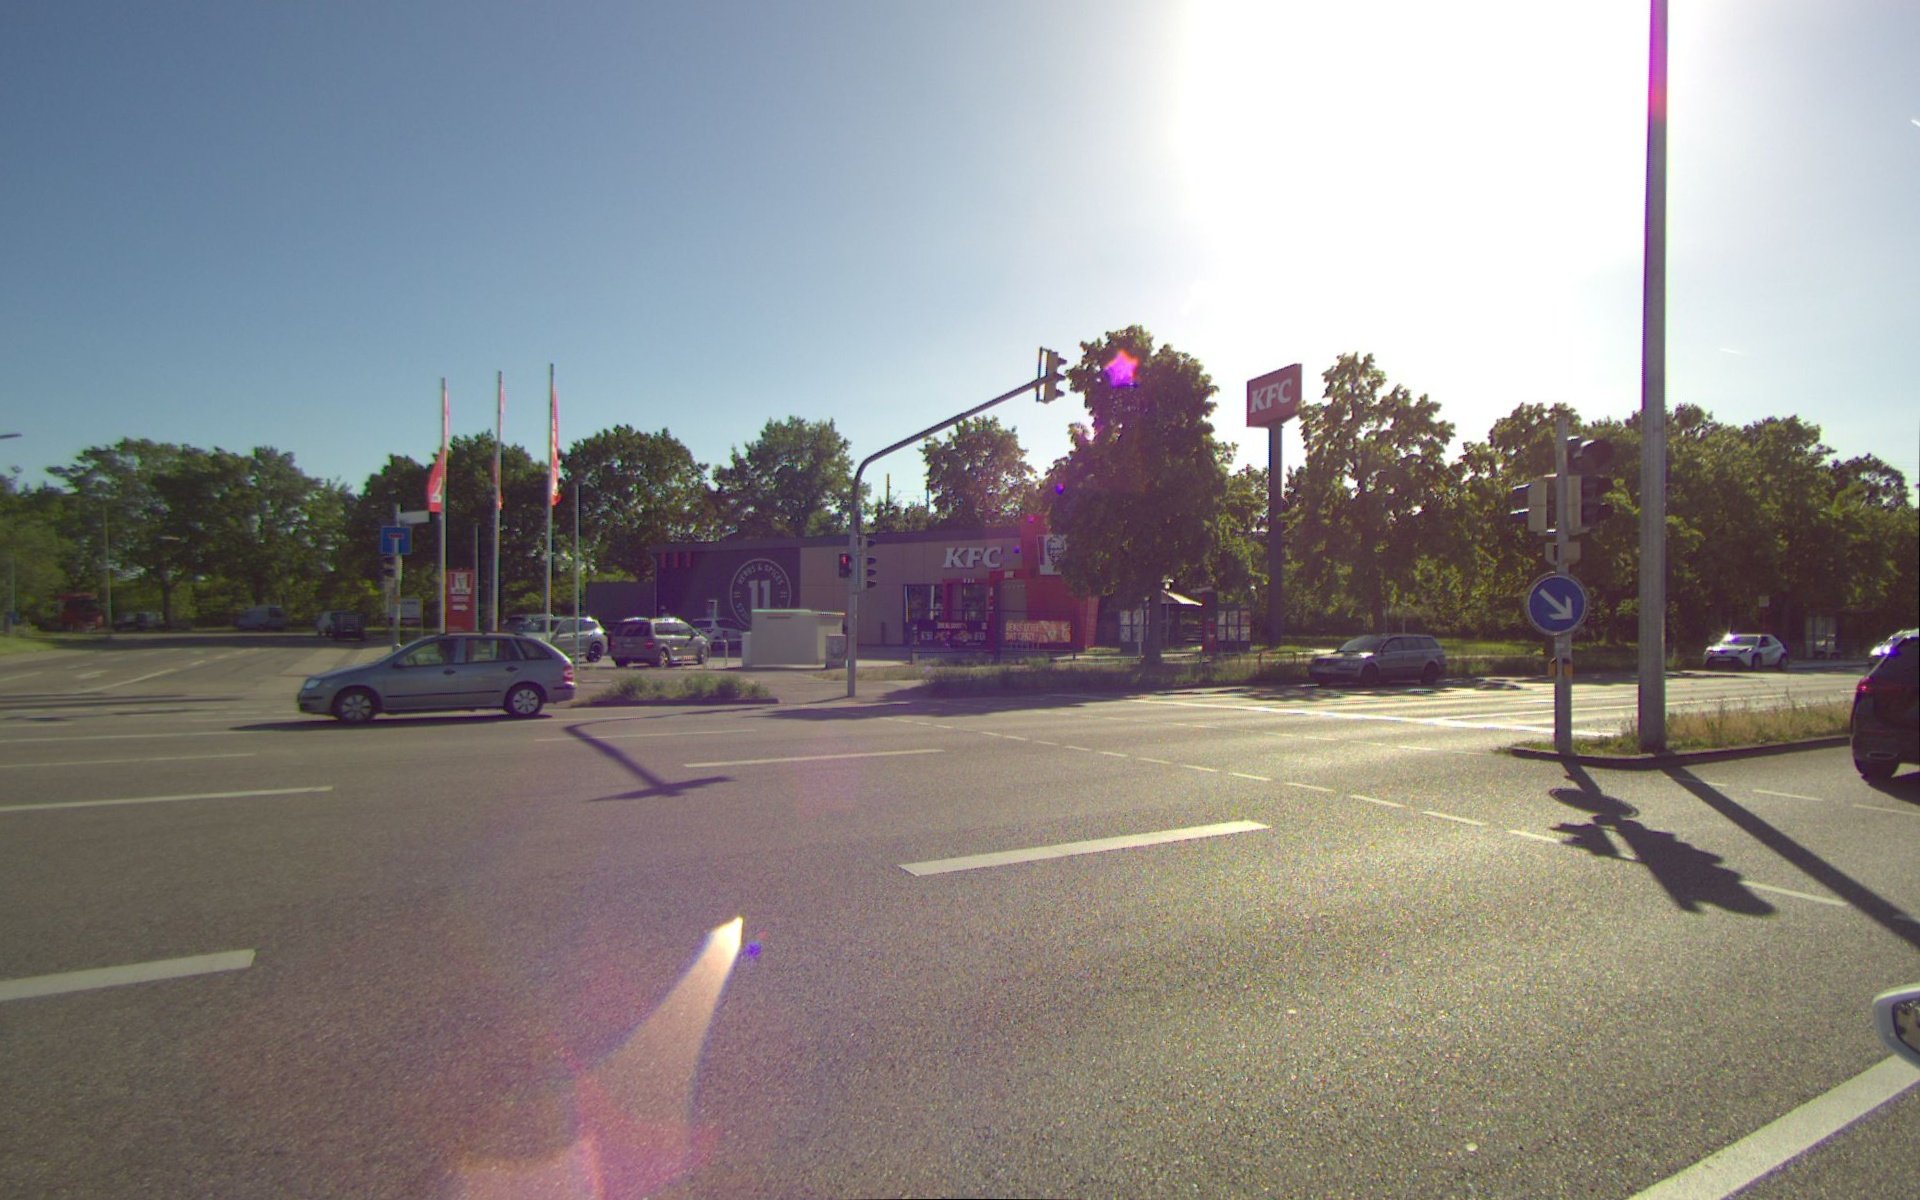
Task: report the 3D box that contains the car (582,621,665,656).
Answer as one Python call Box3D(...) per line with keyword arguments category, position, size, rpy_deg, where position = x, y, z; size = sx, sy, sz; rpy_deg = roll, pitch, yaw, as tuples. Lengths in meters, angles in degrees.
Box3D(category="car", position=(-16.214, 1.836, 48.585), size=(1.845, 1.539, 4.002), rpy_deg=(1, 0, 15))

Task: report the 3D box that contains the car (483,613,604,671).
Box3D(category="car", position=(-14.719, 1.441, 35.706), size=(1.811, 1.875, 3.830), rpy_deg=(1, 0, 20))

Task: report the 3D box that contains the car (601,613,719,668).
Box3D(category="car", position=(-10.245, 1.337, 34.645), size=(1.858, 1.684, 4.134), rpy_deg=(1, 0, 17))

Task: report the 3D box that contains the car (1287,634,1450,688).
Box3D(category="car", position=(11.696, 1.701, 28.682), size=(4.569, 1.394, 1.984), rpy_deg=(2, -2, -30))

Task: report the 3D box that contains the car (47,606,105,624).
Box3D(category="car", position=(-90.770, 1.558, 103.109), size=(4.690, 1.823, 2.103), rpy_deg=(0, -2, 13))

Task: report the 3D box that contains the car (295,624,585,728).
Box3D(category="car", position=(-8.706, 1.186, 17.039), size=(4.147, 1.546, 1.984), rpy_deg=(1, -1, -30))

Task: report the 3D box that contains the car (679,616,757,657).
Box3D(category="car", position=(-11.443, 1.691, 47.765), size=(1.845, 1.771, 4.002), rpy_deg=(1, 0, 15))

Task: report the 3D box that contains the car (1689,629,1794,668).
Box3D(category="car", position=(31.625, 1.945, 40.656), size=(4.147, 1.493, 1.984), rpy_deg=(2, -2, -30))

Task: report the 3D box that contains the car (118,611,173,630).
Box3D(category="car", position=(-81.253, 2.071, 100.227), size=(4.693, 1.823, 2.102), rpy_deg=(-1, -2, 20))

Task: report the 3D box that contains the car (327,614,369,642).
Box3D(category="car", position=(-42.251, 1.972, 69.325), size=(1.893, 1.867, 4.252), rpy_deg=(2, -3, -39))

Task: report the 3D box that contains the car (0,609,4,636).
Box3D(category="car", position=(-62.547, 1.392, 62.722), size=(3.645, 1.690, 1.896), rpy_deg=(1, -2, -27))

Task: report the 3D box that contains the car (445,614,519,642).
Box3D(category="car", position=(-32.068, 1.882, 67.392), size=(4.213, 1.867, 1.911), rpy_deg=(0, -2, 15))

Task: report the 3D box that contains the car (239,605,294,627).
Box3D(category="car", position=(-62.321, 1.460, 90.209), size=(4.699, 1.823, 2.099), rpy_deg=(-1, -2, 27))

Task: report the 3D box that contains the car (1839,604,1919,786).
Box3D(category="car", position=(10.506, 0.904, 9.776), size=(4.175, 1.619, 1.699), rpy_deg=(2, 0, -30))

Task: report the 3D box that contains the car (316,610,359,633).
Box3D(category="car", position=(-49.103, 1.716, 79.164), size=(4.242, 1.690, 1.898), rpy_deg=(-2, -3, 44))

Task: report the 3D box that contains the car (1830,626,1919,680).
Box3D(category="car", position=(30.022, 1.693, 32.303), size=(4.122, 1.663, 1.866), rpy_deg=(2, -3, -30))
